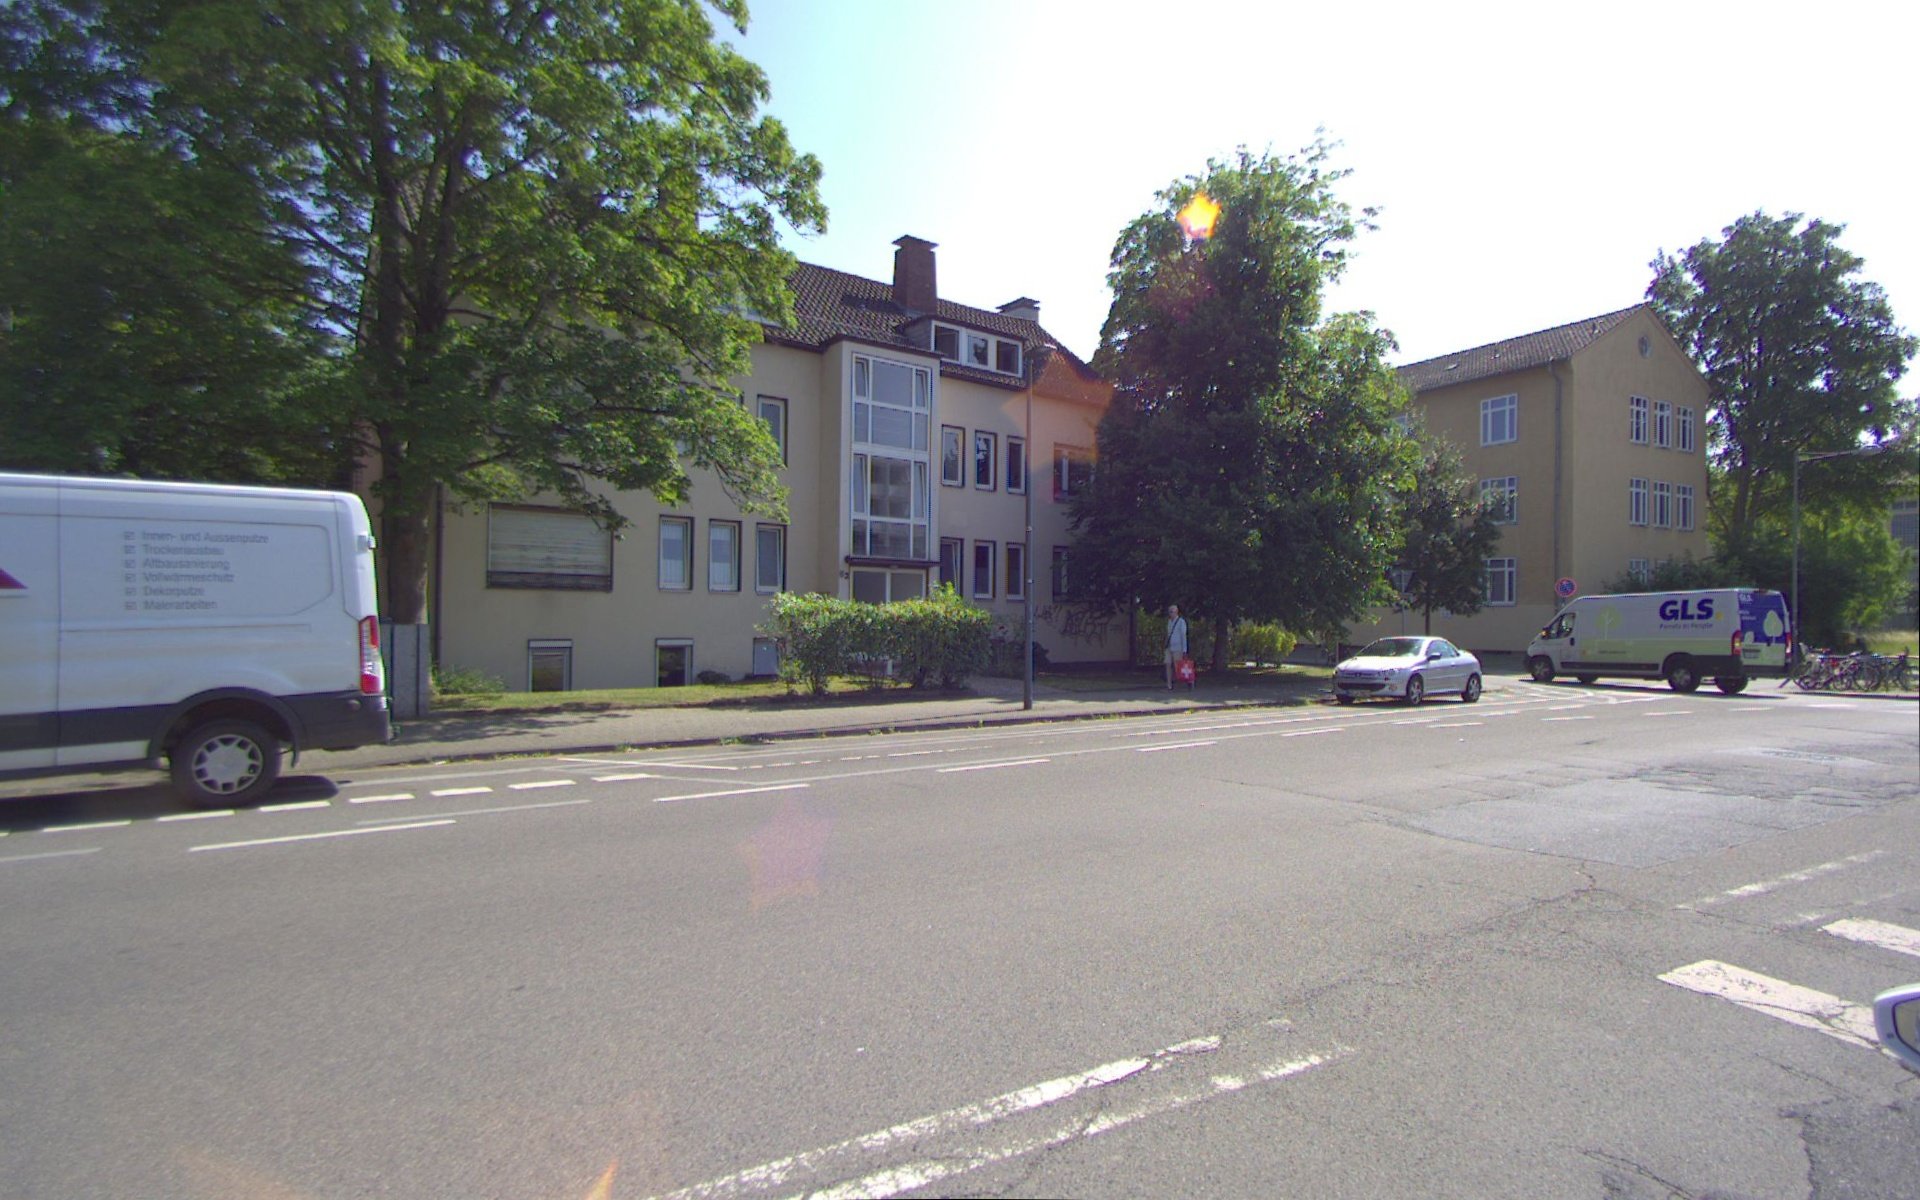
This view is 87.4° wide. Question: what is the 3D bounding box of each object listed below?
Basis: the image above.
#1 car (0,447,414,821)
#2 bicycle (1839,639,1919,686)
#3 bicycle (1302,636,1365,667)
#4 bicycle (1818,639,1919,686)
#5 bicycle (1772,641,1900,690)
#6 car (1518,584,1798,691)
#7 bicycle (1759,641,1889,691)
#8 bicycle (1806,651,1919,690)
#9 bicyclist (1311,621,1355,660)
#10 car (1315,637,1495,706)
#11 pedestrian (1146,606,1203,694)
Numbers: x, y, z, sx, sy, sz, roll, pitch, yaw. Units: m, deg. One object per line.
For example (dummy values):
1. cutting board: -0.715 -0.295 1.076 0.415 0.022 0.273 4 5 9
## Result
1. car: -7.495 0.248 7.317 5.904 2.529 2.072 1 -2 -40
2. bicycle: 27.272 1.806 29.174 0.731 1.273 2.532 1 -1 -30
3. bicycle: 13.935 1.898 37.550 0.943 1.127 2.547 0 -2 -13
4. bicycle: 26.147 1.765 28.590 0.731 1.273 2.503 1 -2 -30
5. bicycle: 23.952 1.771 27.522 0.731 1.255 2.532 1 -2 -30
6. car: 18.620 1.027 27.303 2.248 2.557 6.111 1 -2 -19
7. bicycle: 23.202 1.741 27.045 0.731 1.273 2.532 1 -2 -30
8. bicycle: 25.134 1.928 27.783 0.731 1.000 2.532 1 -2 -30
9. bicyclist: 13.933 1.492 37.519 0.943 1.422 1.352 0 -2 -13
10. car: 9.305 1.418 20.894 3.962 1.283 1.708 1 -2 -37
11. pedestrian: 4.561 1.045 21.380 0.717 1.803 0.968 1 -1 -32
